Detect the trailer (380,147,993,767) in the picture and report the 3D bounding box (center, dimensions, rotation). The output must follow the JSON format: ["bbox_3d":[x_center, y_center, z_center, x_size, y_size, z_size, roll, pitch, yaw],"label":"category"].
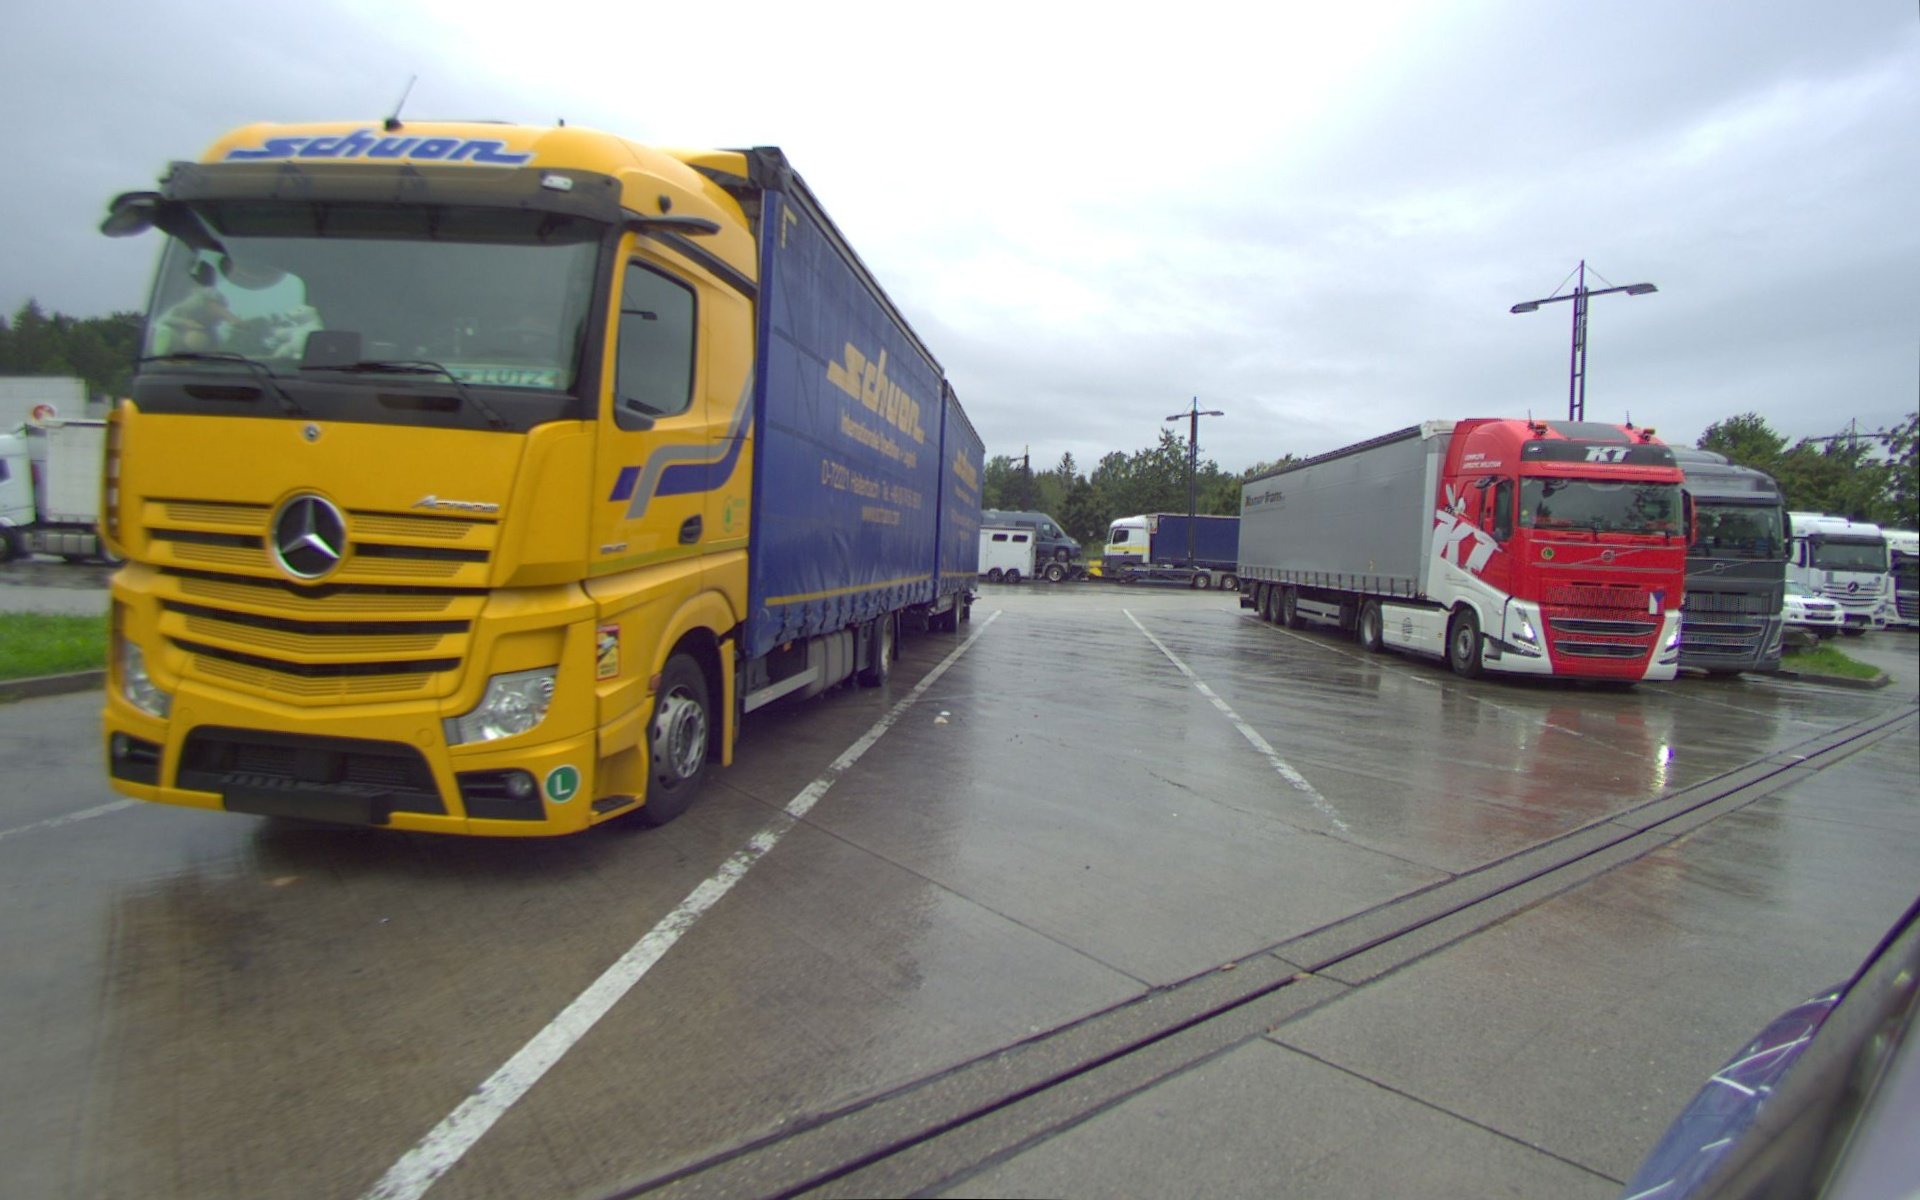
[{"bbox_3d":[-1.610,-1.361,14.925,2.820,3.966,16.615,3,3,6],"label":"trailer"}]

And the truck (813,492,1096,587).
[{"bbox_3d":[-0.245,-3.165,52.959,14.317,4.440,3.474,2,2,6],"label":"truck"}]

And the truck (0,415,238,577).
[{"bbox_3d":[-25.014,-2.873,29.249,6.666,4.329,2.664,0,0,6],"label":"truck"}]

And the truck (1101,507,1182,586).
[{"bbox_3d":[10.635,-3.123,59.770,4.319,4.440,3.093,2,2,5],"label":"truck"}]

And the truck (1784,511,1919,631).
[{"bbox_3d":[36.971,-1.139,40.487,3.187,4.440,5.812,2,2,3],"label":"truck"}]

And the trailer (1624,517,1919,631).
[{"bbox_3d":[37.287,-1.316,47.439,3.187,4.440,14.392,2,2,3],"label":"trailer"}]

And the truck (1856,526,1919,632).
[{"bbox_3d":[41.697,-0.869,43.265,2.559,4.440,4.627,2,2,3],"label":"truck"}]

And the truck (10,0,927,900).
[{"bbox_3d":[-2.321,-1.010,8.292,2.792,3.966,8.120,3,3,7],"label":"truck"}]

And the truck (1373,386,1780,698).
[{"bbox_3d":[9.092,-0.898,15.818,3.187,3.966,5.021,3,3,3],"label":"truck"}]

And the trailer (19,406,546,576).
[{"bbox_3d":[-18.997,-2.911,28.590,13.918,4.311,2.664,0,0,6],"label":"trailer"}]

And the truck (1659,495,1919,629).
[{"bbox_3d":[29.305,-1.406,36.142,3.187,4.140,7.937,2,3,3],"label":"truck"}]

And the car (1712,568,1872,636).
[{"bbox_3d":[25.672,-0.001,31.439,1.816,1.881,3.996,2,2,5],"label":"car"}]

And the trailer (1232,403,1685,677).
[{"bbox_3d":[9.410,-1.273,22.552,3.187,3.966,14.829,2,3,3],"label":"trailer"}]

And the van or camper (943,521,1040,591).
[{"bbox_3d":[1.570,-2.071,48.709,4.528,3.278,2.266,0,0,6],"label":"van or camper"}]

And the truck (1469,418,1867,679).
[{"bbox_3d":[12.686,-0.976,19.097,2.847,3.966,6.555,2,3,3],"label":"truck"}]

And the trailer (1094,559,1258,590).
[{"bbox_3d":[10.903,-1.343,51.822,7.824,1.305,3.243,2,2,5],"label":"trailer"}]

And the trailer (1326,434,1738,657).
[{"bbox_3d":[12.976,-1.355,25.513,2.824,3.966,13.934,2,3,3],"label":"trailer"}]

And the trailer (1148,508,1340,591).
[{"bbox_3d":[16.423,-2.942,59.217,10.278,4.440,3.093,2,2,6],"label":"trailer"}]

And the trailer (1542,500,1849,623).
[{"bbox_3d":[29.593,-1.692,42.164,3.187,4.140,13.531,2,3,3],"label":"trailer"}]
